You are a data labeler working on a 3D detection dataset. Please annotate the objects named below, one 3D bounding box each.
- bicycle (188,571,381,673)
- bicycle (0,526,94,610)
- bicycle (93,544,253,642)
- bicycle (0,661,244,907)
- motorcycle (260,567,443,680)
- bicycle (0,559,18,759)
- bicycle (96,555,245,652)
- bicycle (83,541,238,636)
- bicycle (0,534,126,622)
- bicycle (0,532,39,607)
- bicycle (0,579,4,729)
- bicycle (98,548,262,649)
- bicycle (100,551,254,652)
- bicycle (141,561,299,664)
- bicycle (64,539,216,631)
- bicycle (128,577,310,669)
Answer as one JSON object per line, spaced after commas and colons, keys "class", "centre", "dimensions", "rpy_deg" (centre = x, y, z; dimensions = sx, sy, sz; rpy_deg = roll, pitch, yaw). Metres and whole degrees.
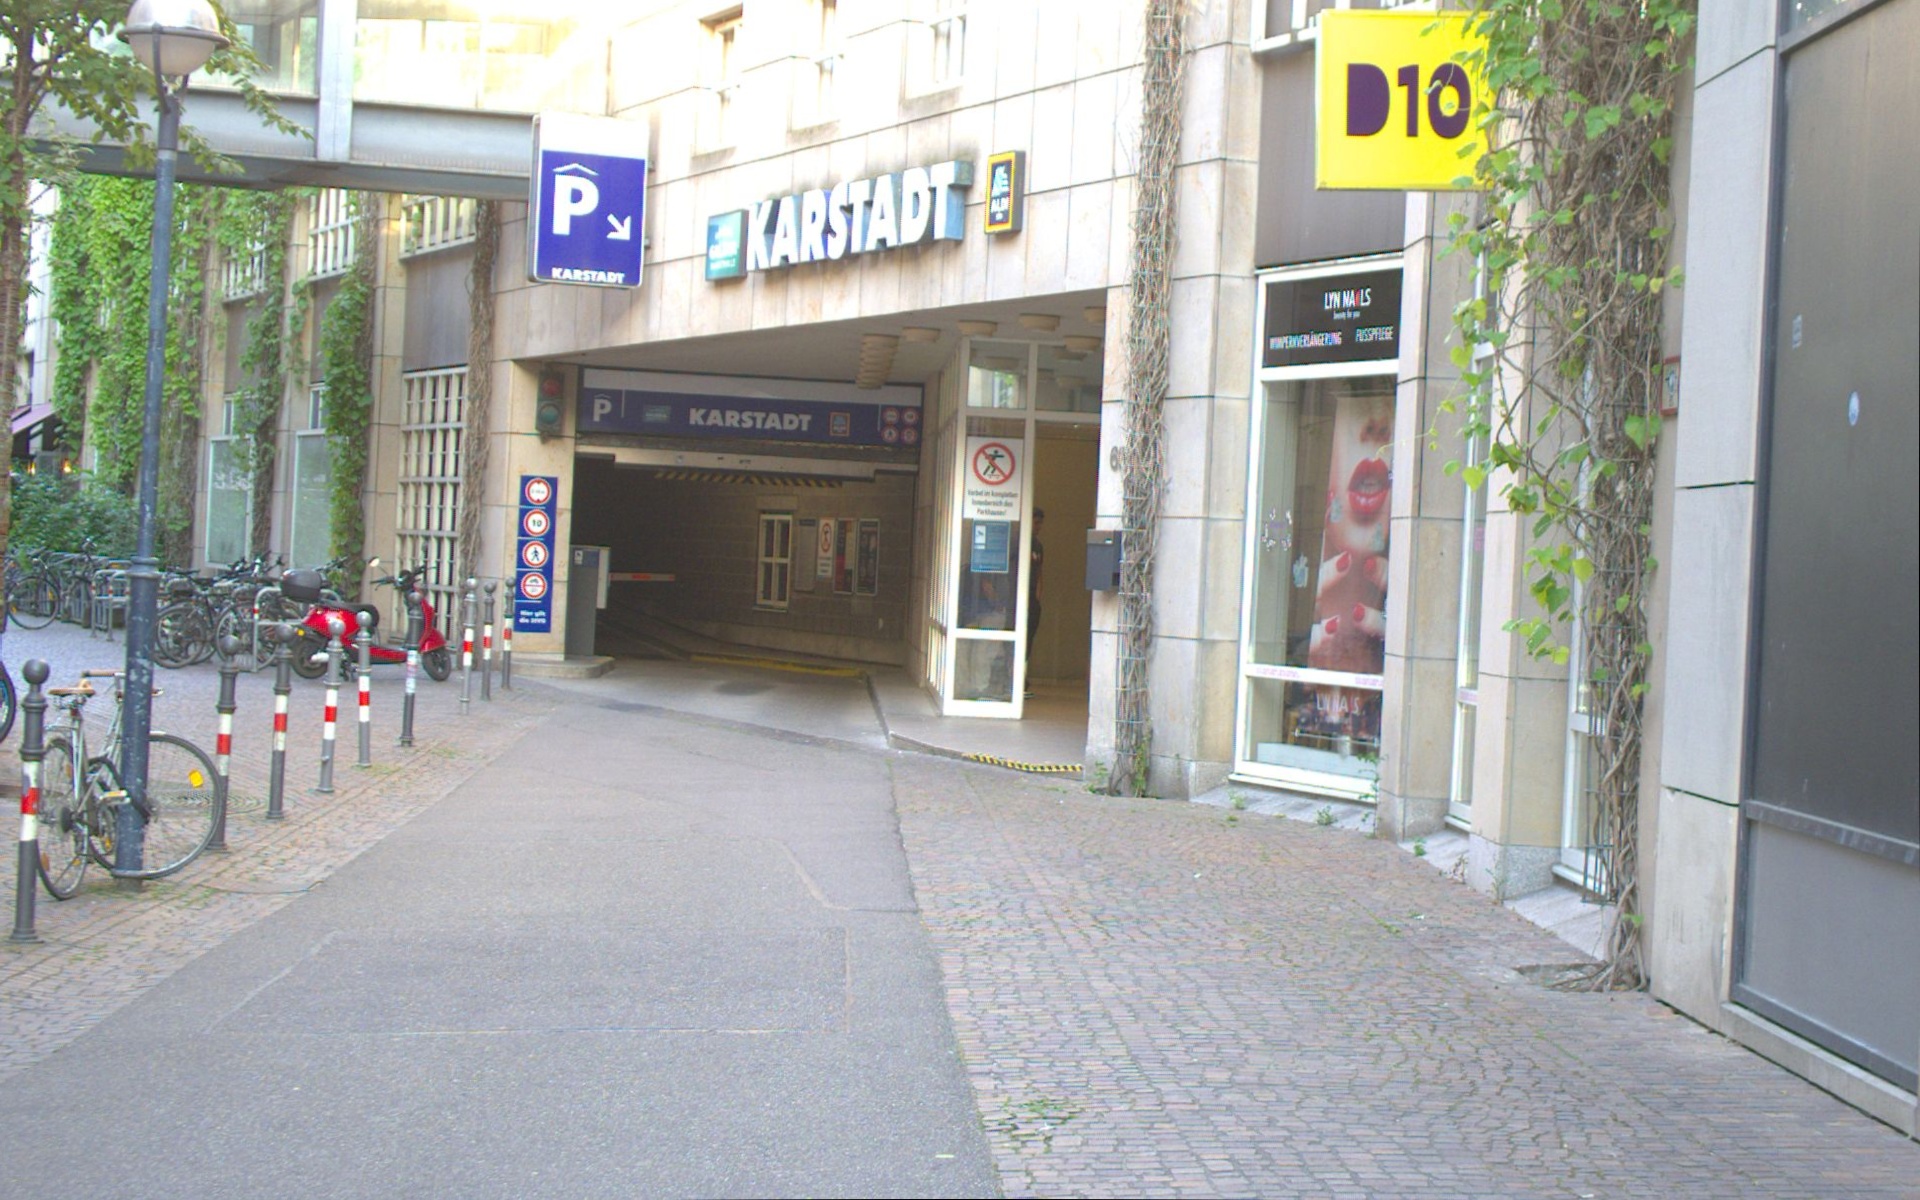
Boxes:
{"class": "bicycle", "centre": [-6.866, 0.230, 34.971], "dimensions": [1.847, 0.978, 0.464], "rpy_deg": [2, 1, -23]}
{"class": "bicycle", "centre": [-12.911, -0.450, 47.416], "dimensions": [1.773, 1.110, 0.543], "rpy_deg": [2, 1, -23]}
{"class": "bicycle", "centre": [-9.445, -0.086, 41.279], "dimensions": [1.773, 1.110, 0.543], "rpy_deg": [2, 1, -23]}
{"class": "bicycle", "centre": [-3.706, 0.767, 14.903], "dimensions": [0.493, 0.935, 1.658], "rpy_deg": [4, 1, 12]}
{"class": "motorcycle", "centre": [-5.907, 0.231, 33.387], "dimensions": [1.662, 1.047, 0.464], "rpy_deg": [2, 1, -23]}
{"class": "bicycle", "centre": [-6.765, 0.346, 21.174], "dimensions": [1.766, 1.226, 0.534], "rpy_deg": [1, 1, -25]}
{"class": "bicycle", "centre": [-8.966, 0.040, 39.053], "dimensions": [1.539, 1.045, 0.575], "rpy_deg": [2, 1, -23]}
{"class": "bicycle", "centre": [-9.871, -0.139, 42.462], "dimensions": [1.773, 1.110, 0.543], "rpy_deg": [2, 1, -23]}
{"class": "bicycle", "centre": [-12.033, -0.296, 45.652], "dimensions": [1.773, 1.110, 0.543], "rpy_deg": [2, 1, -23]}
{"class": "bicycle", "centre": [-14.723, -0.477, 51.363], "dimensions": [1.773, 1.110, 0.543], "rpy_deg": [2, 1, -20]}
{"class": "bicycle", "centre": [-7.483, 0.391, 23.315], "dimensions": [1.836, 1.118, 0.534], "rpy_deg": [1, 1, -25]}
{"class": "bicycle", "centre": [-9.127, -0.017, 40.220], "dimensions": [1.773, 1.110, 0.543], "rpy_deg": [2, 1, -23]}
{"class": "bicycle", "centre": [-8.583, 0.017, 37.671], "dimensions": [1.539, 1.045, 0.575], "rpy_deg": [2, 1, -23]}
{"class": "bicycle", "centre": [-7.903, 0.133, 36.726], "dimensions": [1.539, 1.045, 0.575], "rpy_deg": [2, 1, -23]}
{"class": "bicycle", "centre": [-10.372, -0.189, 43.491], "dimensions": [1.773, 1.110, 0.543], "rpy_deg": [2, 1, -23]}
{"class": "bicycle", "centre": [-7.710, 0.244, 35.785], "dimensions": [1.773, 0.901, 0.464], "rpy_deg": [2, 1, -23]}
